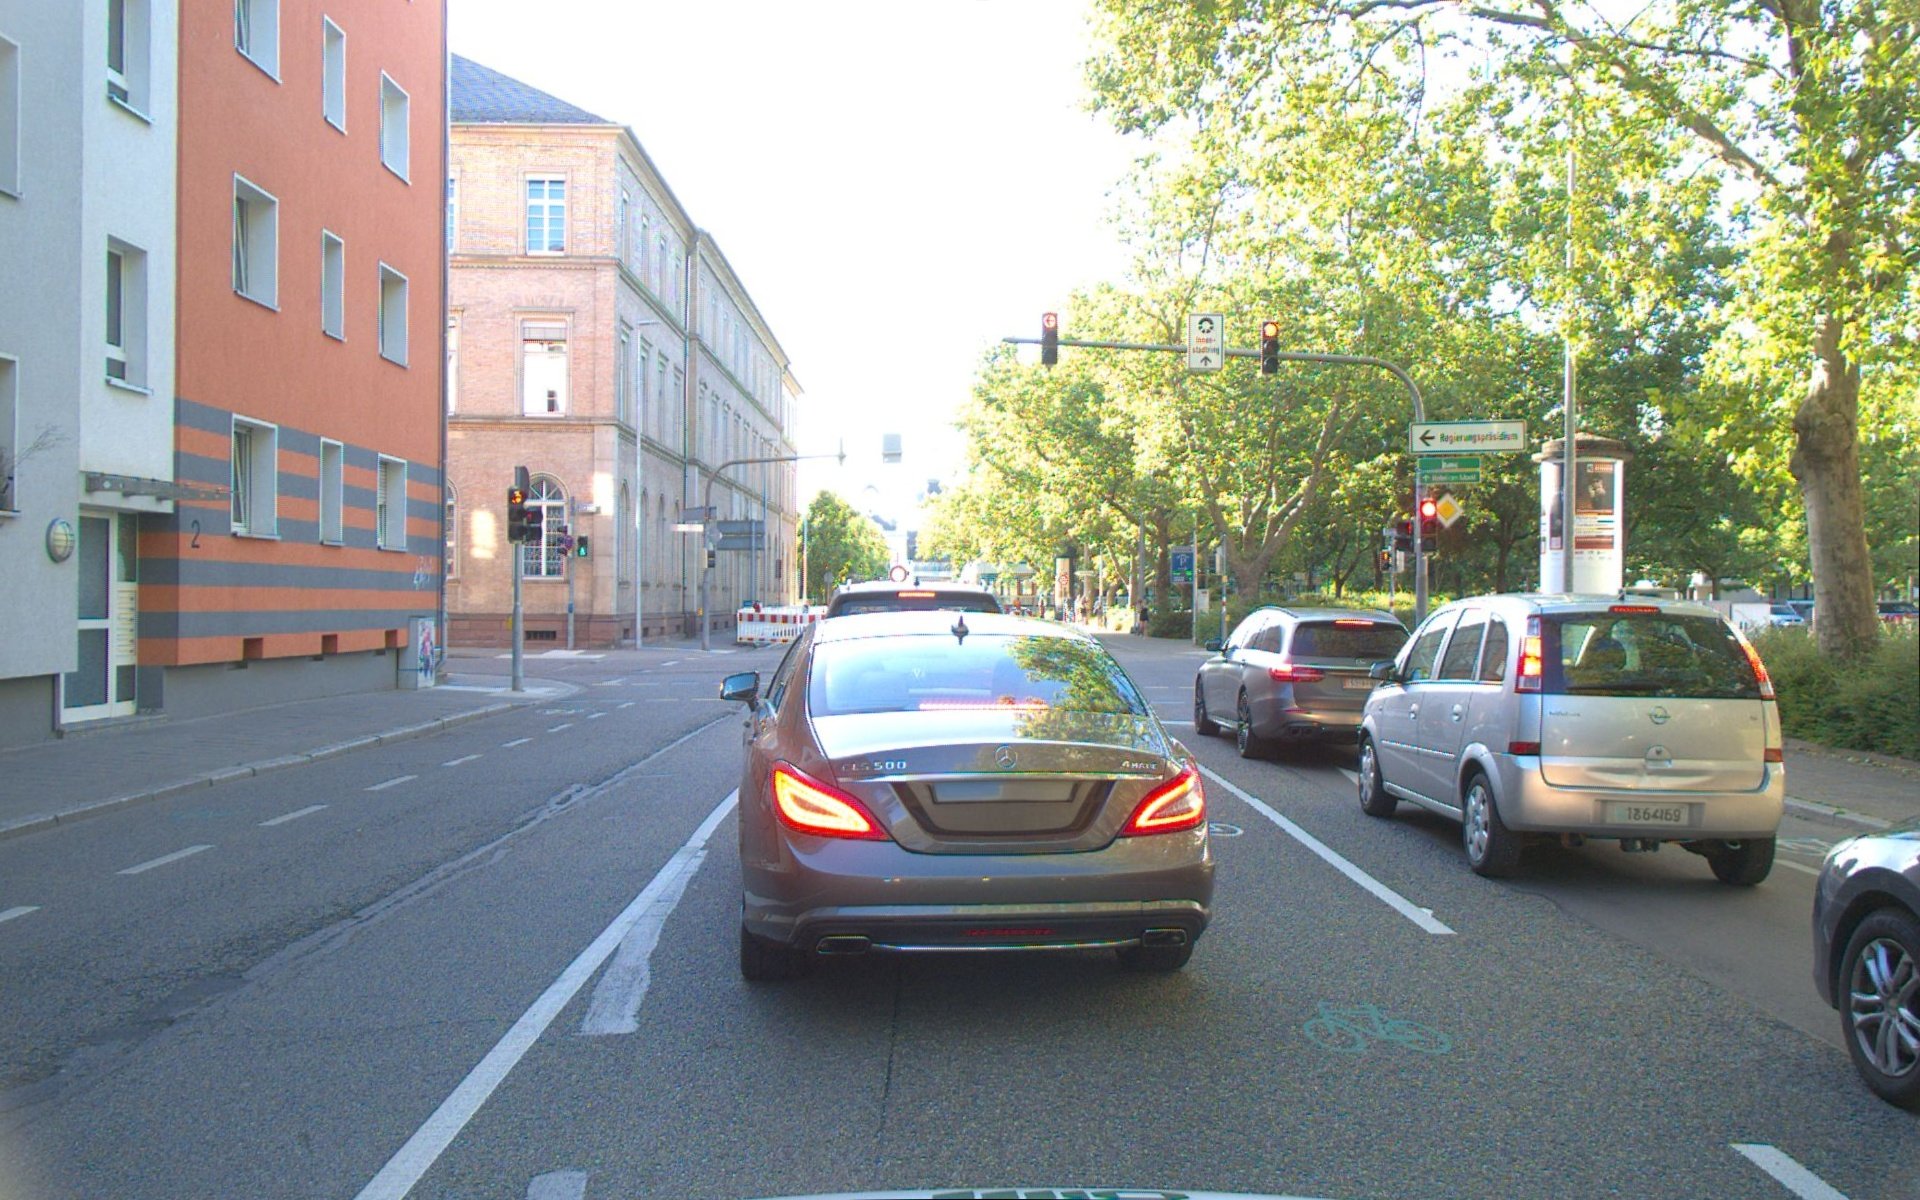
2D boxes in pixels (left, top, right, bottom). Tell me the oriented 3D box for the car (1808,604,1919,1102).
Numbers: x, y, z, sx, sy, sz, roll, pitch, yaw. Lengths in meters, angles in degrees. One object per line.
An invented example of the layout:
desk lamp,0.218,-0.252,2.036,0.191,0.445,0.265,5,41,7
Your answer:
car,3.749,0.783,3.708,1.611,1.508,3.975,1,0,-1

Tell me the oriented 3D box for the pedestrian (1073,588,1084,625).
pedestrian,6.774,0.374,94.473,0.528,2.049,0.473,1,-1,-1

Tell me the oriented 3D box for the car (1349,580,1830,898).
car,3.797,0.733,10.723,1.666,1.631,3.860,2,0,1

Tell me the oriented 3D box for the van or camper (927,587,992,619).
van or camper,-0.053,0.185,106.360,1.976,1.975,4.539,1,0,-34

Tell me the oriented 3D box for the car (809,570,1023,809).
car,-0.402,0.630,13.647,1.487,1.675,3.878,1,0,-3

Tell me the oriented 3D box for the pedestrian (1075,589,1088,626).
pedestrian,6.143,0.369,83.420,0.591,1.853,0.651,1,0,-1

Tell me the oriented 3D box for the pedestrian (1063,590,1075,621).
pedestrian,6.477,0.325,97.995,0.599,1.853,0.932,1,0,-1

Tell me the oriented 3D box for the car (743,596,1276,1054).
car,-0.096,0.734,7.655,1.769,1.482,4.343,1,0,-8

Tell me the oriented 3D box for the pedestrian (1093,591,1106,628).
pedestrian,7.023,0.479,83.359,0.591,1.853,0.651,1,0,-1

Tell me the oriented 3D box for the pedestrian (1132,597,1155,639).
pedestrian,7.235,0.722,65.313,0.813,1.634,0.651,1,0,-1

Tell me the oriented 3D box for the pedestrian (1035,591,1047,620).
pedestrian,5.227,0.372,106.635,0.687,1.870,0.736,1,0,-3

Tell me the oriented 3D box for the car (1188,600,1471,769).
car,3.731,0.782,17.572,1.874,1.490,4.668,2,0,-1

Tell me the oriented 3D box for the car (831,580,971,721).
car,-0.783,0.644,23.211,1.783,1.793,3.999,0,0,-1
